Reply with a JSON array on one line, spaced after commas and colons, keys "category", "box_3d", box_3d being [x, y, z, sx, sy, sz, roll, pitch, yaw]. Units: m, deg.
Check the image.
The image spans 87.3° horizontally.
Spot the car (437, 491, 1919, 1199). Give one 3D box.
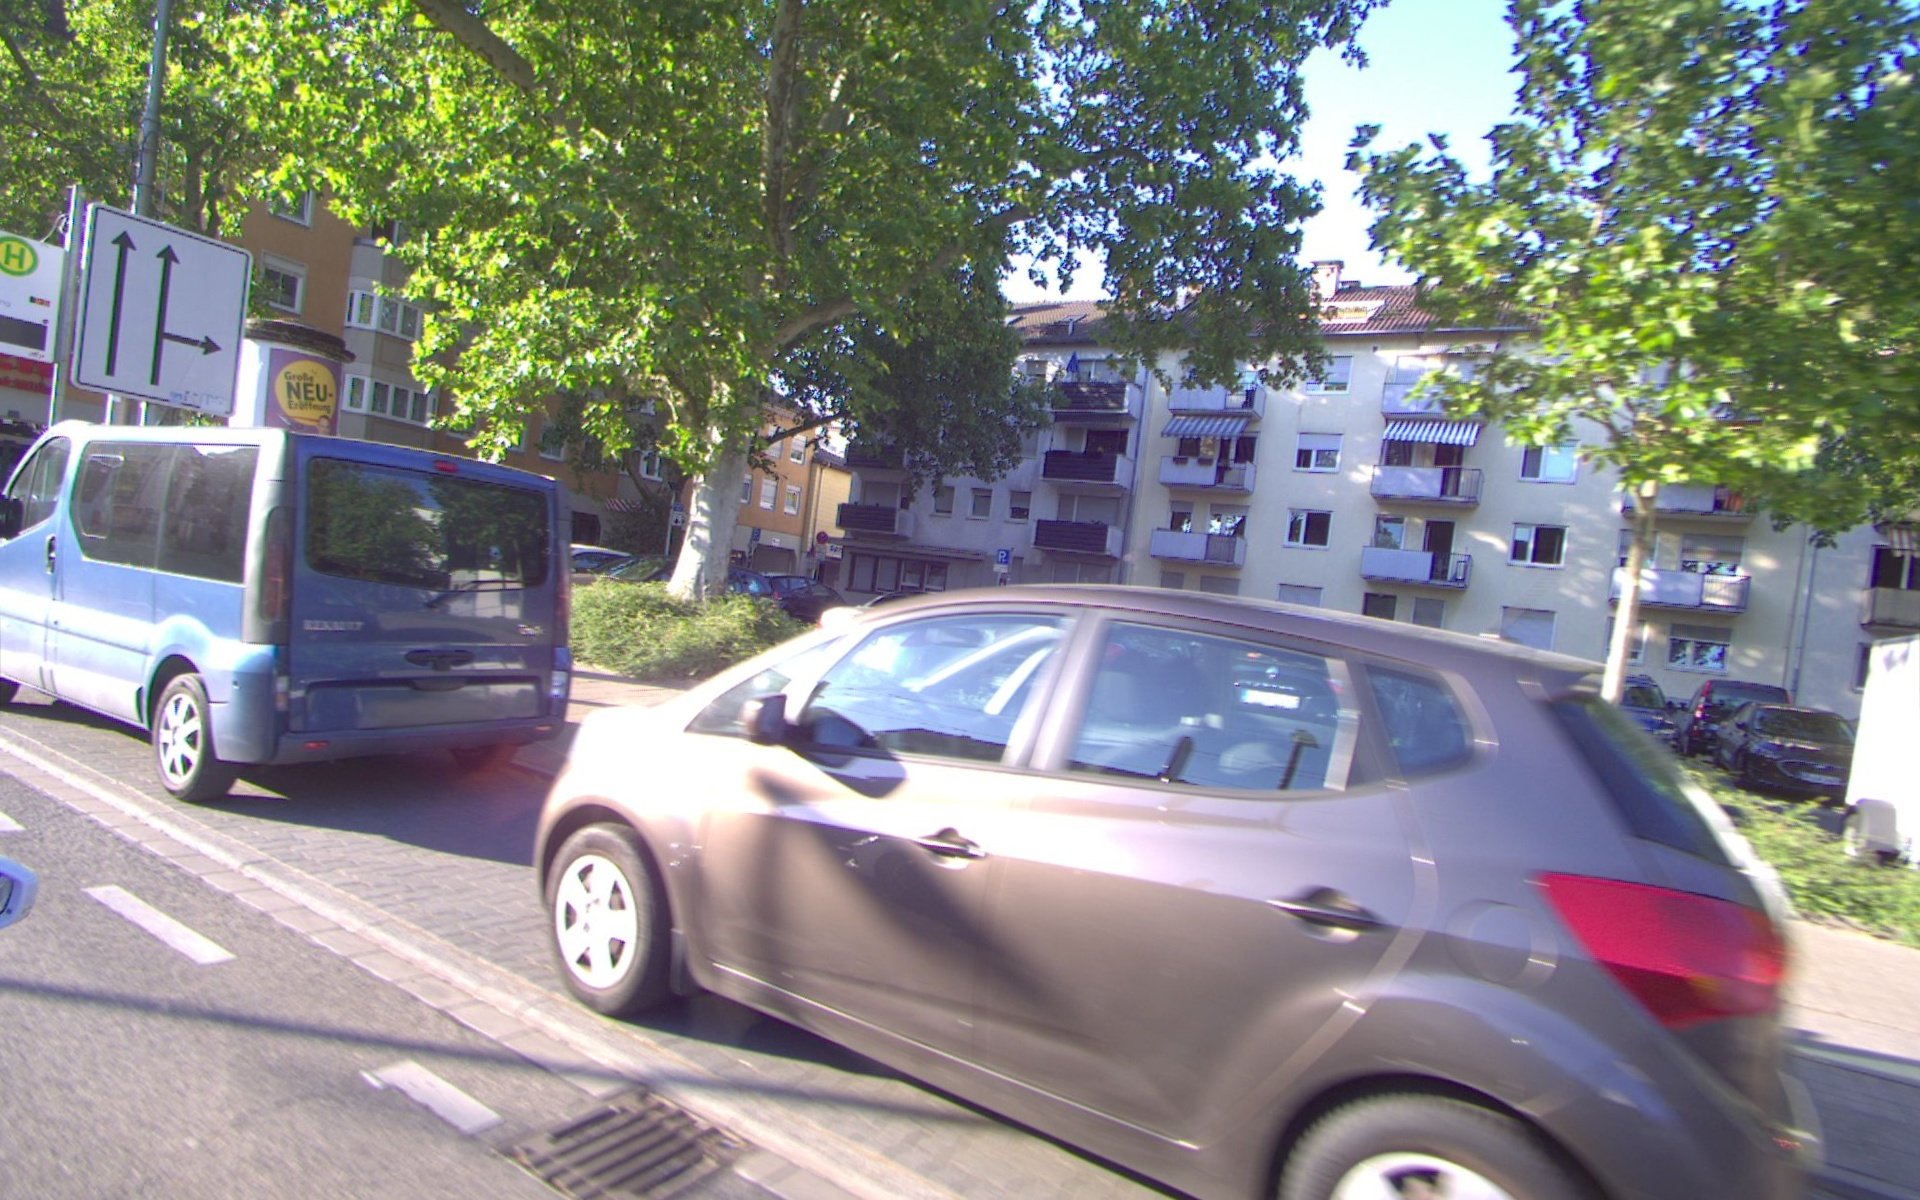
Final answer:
[{"category": "car", "box_3d": [0.277, 0.687, 3.451, 3.933, 1.651, 1.798, 7, 0, 32]}]

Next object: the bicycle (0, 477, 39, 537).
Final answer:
[{"category": "bicycle", "box_3d": [-20.891, -2.054, 21.807, 0.637, 1.242, 1.577, 6, 1, -15]}]

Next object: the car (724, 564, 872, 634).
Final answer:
[{"category": "car", "box_3d": [-4.619, 0.027, 29.228, 1.967, 1.553, 4.054, 7, 0, 31]}]

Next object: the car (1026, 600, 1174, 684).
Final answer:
[{"category": "car", "box_3d": [3.371, 1.017, 23.490, 1.965, 1.553, 4.290, 7, 0, 27]}]

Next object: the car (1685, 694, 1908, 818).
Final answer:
[{"category": "car", "box_3d": [14.376, 2.585, 17.607, 1.965, 1.514, 4.290, 7, 0, 27]}]

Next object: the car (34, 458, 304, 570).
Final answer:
[{"category": "car", "box_3d": [-19.055, -2.015, 24.488, 1.966, 1.727, 4.631, 7, -3, 30]}]

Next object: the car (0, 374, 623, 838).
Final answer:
[{"category": "car", "box_3d": [-4.551, -0.137, 6.515, 4.487, 2.104, 1.887, 7, 1, 32]}]

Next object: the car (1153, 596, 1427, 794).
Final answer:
[{"category": "car", "box_3d": [3.802, 1.058, 11.066, 1.773, 1.568, 4.120, 7, -2, 32]}]

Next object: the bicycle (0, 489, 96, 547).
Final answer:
[{"category": "bicycle", "box_3d": [-19.154, -1.692, 21.103, 0.640, 1.026, 1.677, 7, 0, -6]}]

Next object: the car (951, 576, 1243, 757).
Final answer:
[{"category": "car", "box_3d": [1.819, 0.778, 12.041, 1.773, 1.619, 4.115, 7, 0, 32]}]

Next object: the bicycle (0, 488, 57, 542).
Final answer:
[{"category": "bicycle", "box_3d": [-19.973, -1.803, 21.108, 0.640, 1.026, 1.581, 7, 0, -6]}]

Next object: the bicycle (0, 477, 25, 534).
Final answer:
[{"category": "bicycle", "box_3d": [-21.815, -2.160, 22.330, 0.640, 1.242, 1.581, 7, 1, -6]}]

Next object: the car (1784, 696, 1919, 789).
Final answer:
[{"category": "car", "box_3d": [19.018, 2.929, 20.858, 1.965, 1.514, 4.290, 7, 0, 27]}]

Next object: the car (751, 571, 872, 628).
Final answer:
[{"category": "car", "box_3d": [-5.160, 0.018, 35.514, 1.967, 1.553, 4.054, 7, 0, 31]}]

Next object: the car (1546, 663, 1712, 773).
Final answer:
[{"category": "car", "box_3d": [12.408, 2.115, 18.955, 1.965, 1.553, 4.290, 7, 0, 27]}]

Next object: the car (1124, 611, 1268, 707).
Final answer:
[{"category": "car", "box_3d": [5.355, 1.320, 22.419, 1.965, 1.712, 4.290, 7, 0, 27]}]

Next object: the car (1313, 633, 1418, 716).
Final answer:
[{"category": "car", "box_3d": [10.610, 1.911, 26.144, 1.965, 1.712, 4.290, 7, 0, 27]}]

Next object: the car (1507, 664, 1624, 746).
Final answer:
[{"category": "car", "box_3d": [14.419, 2.428, 24.187, 1.965, 1.514, 4.290, 7, 0, 27]}]

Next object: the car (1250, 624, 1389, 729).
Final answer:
[{"category": "car", "box_3d": [7.550, 1.549, 20.847, 1.965, 1.712, 4.451, 7, 0, 27]}]

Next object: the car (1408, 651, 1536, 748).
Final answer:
[{"category": "car", "box_3d": [10.433, 1.953, 20.541, 1.965, 1.514, 4.290, 7, 0, 27]}]

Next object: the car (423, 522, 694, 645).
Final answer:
[{"category": "car", "box_3d": [-6.701, -0.212, 17.165, 1.773, 1.453, 3.848, 9, -1, 32]}]

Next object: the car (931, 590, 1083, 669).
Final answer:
[{"category": "car", "box_3d": [1.258, 0.772, 24.727, 1.965, 1.553, 4.290, 7, 0, 28]}]

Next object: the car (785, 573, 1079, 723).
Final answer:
[{"category": "car", "box_3d": [-0.193, 0.657, 13.332, 1.773, 1.514, 4.115, 7, 0, 32]}]

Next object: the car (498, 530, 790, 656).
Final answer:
[{"category": "car", "box_3d": [-4.799, -0.036, 15.862, 1.773, 1.514, 4.115, 7, 0, 32]}]

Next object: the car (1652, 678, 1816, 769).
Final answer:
[{"category": "car", "box_3d": [16.879, 2.618, 22.191, 1.965, 1.514, 4.290, 7, 0, 27]}]
